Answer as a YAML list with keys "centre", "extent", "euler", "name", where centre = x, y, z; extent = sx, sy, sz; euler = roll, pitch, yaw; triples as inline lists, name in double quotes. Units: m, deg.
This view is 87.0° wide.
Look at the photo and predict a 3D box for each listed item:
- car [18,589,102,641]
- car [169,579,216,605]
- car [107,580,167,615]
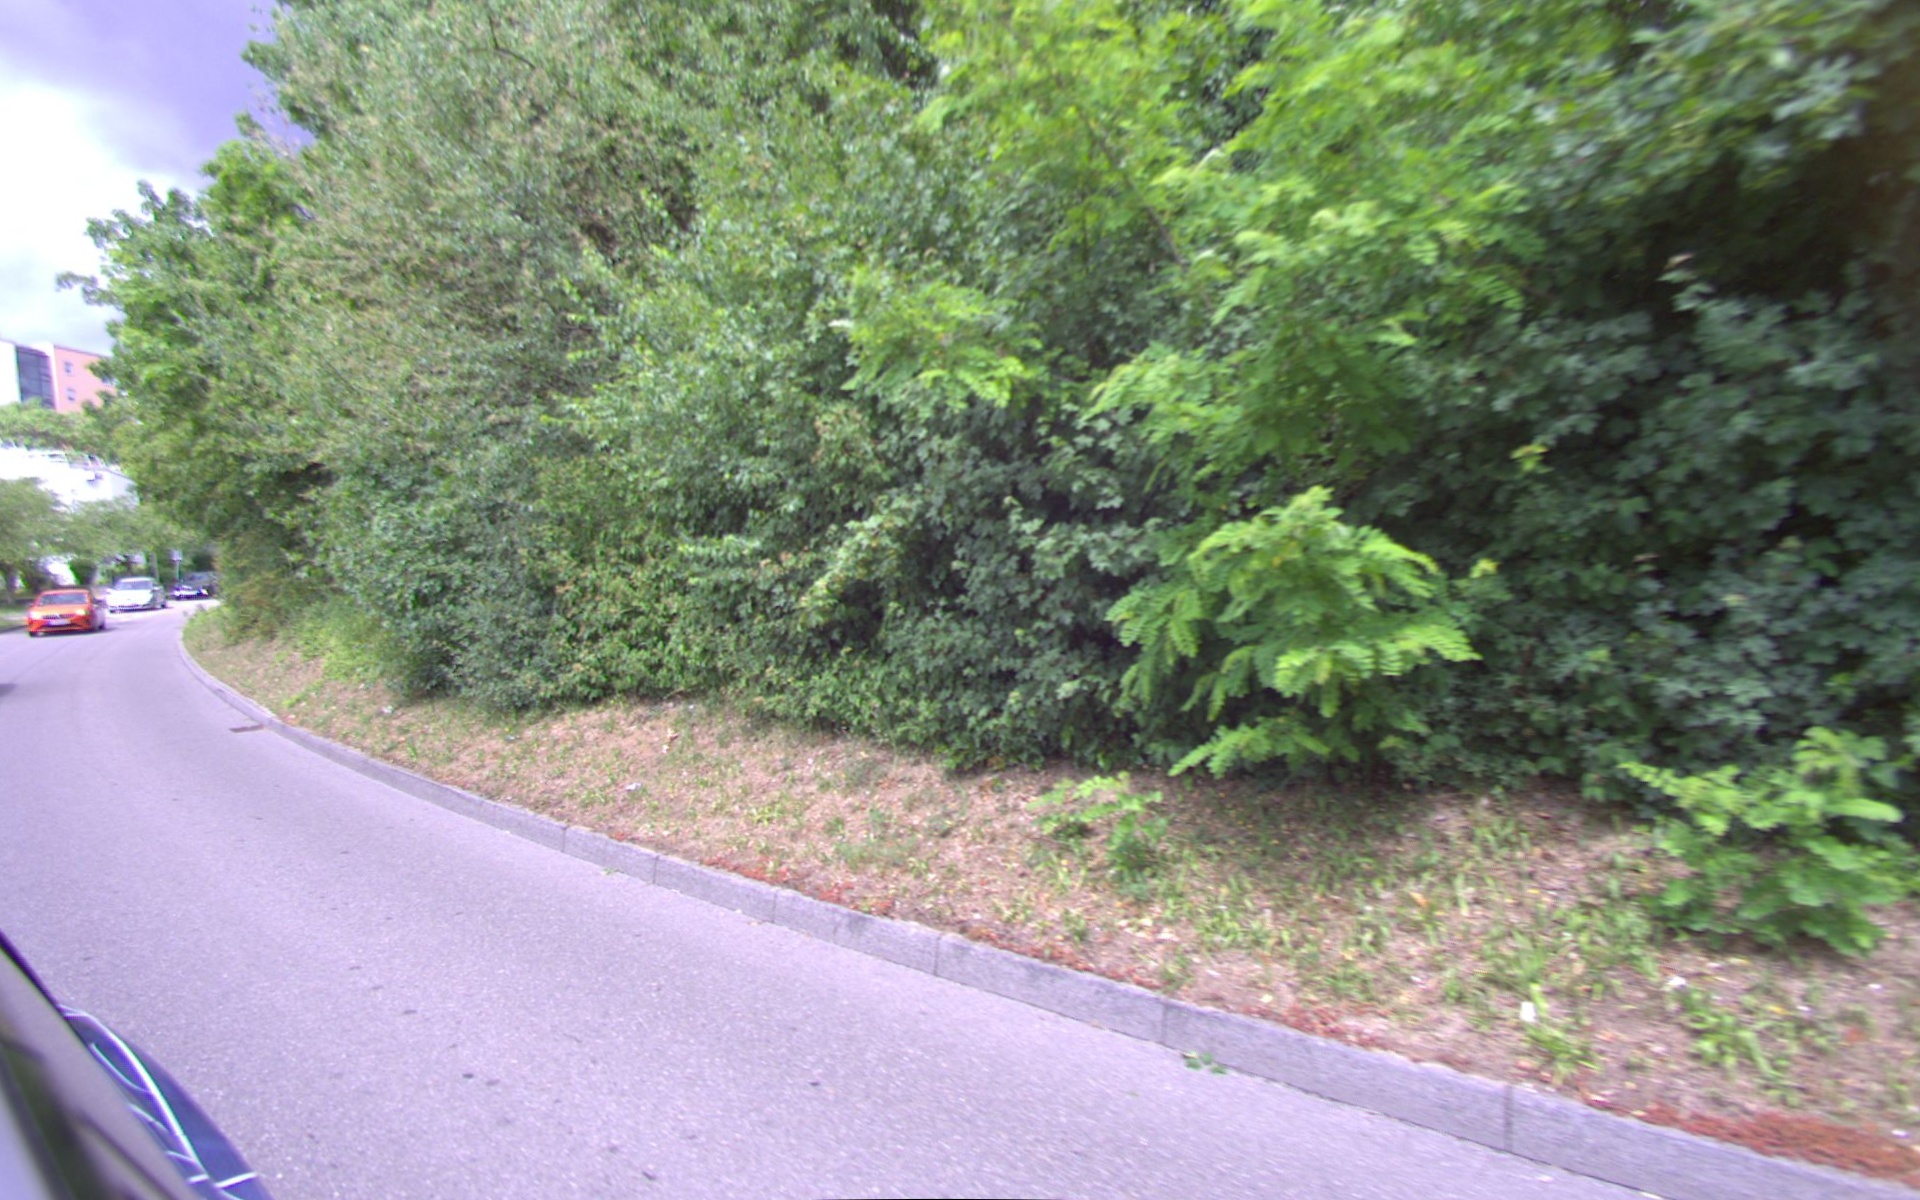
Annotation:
- centre: [-30.002, 0.446, 33.702]
  extent: [1.836, 1.453, 4.004]
  euler: [-6, 6, -43]
  name: "car"
- centre: [-46.242, -0.512, 61.031]
  extent: [1.752, 1.430, 4.012]
  euler: [-4, 3, -31]
  name: "car"
- centre: [-40.363, -0.154, 49.720]
  extent: [1.752, 1.462, 4.012]
  euler: [-5, 5, -32]
  name: "car"
